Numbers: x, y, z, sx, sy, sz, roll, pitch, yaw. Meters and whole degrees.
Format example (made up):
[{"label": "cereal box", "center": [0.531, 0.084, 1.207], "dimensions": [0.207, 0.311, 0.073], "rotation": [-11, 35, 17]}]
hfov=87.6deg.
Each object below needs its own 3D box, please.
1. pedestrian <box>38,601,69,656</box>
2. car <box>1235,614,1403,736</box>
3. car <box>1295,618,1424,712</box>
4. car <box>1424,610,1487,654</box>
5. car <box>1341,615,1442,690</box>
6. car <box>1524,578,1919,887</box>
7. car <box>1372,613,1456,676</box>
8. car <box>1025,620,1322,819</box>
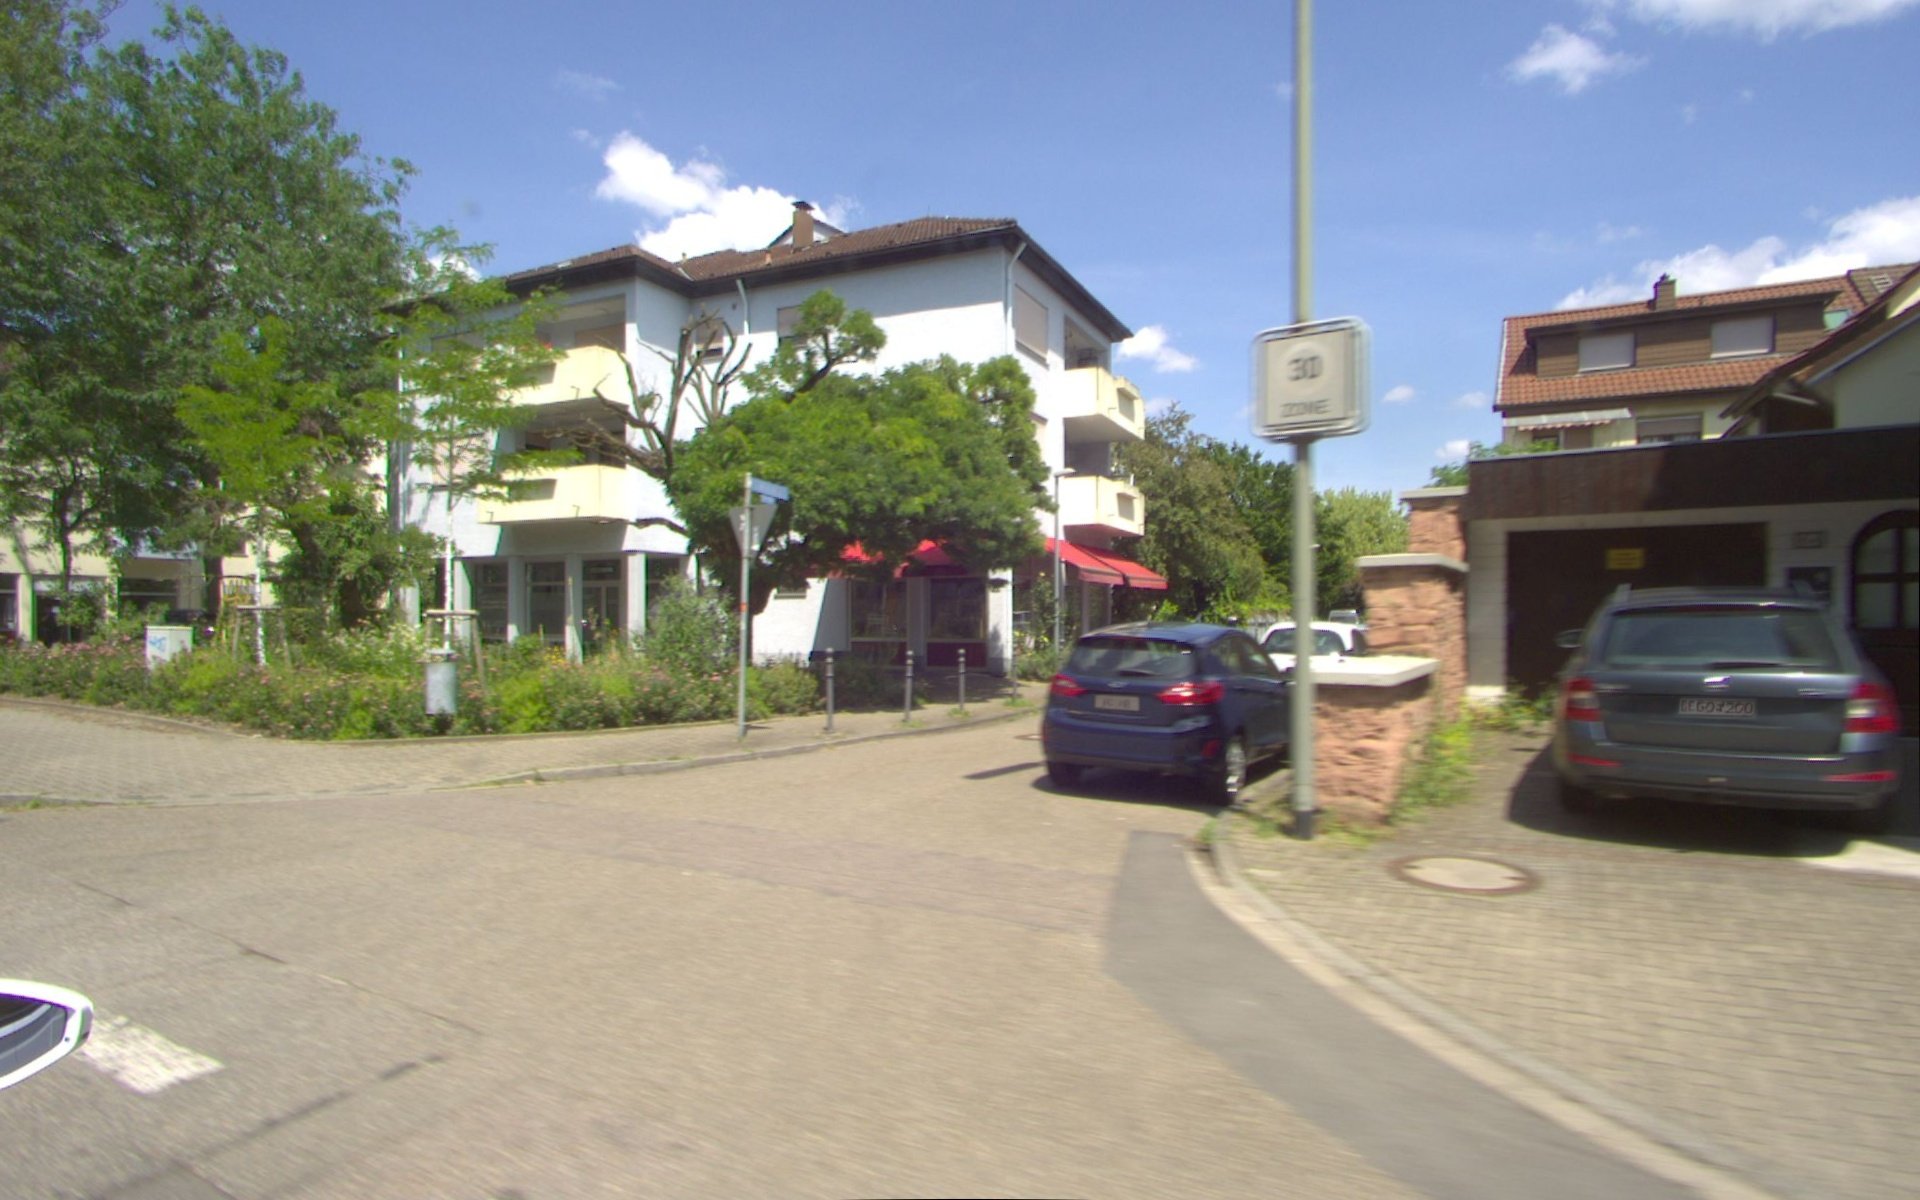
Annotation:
[{"label": "pedestrian", "center": [-31.150, 0.974, 34.420], "dimensions": [0.586, 1.883, 0.602], "rotation": [0, 0, -17]}, {"label": "car", "center": [5.571, 1.066, 15.291], "dimensions": [1.716, 1.550, 3.594], "rotation": [2, -1, 31]}, {"label": "car", "center": [7.731, 1.195, 19.200], "dimensions": [1.716, 1.550, 3.594], "rotation": [2, -1, 31]}, {"label": "car", "center": [20.183, 1.272, 40.691], "dimensions": [1.971, 1.683, 3.981], "rotation": [0, -1, 31]}, {"label": "car", "center": [10.253, 1.204, 23.667], "dimensions": [1.716, 1.550, 3.594], "rotation": [2, -1, 31]}, {"label": "car", "center": [5.298, 0.660, 7.252], "dimensions": [1.719, 1.550, 4.255], "rotation": [-2, 0, 35]}, {"label": "car", "center": [12.630, 1.207, 27.757], "dimensions": [1.716, 1.550, 3.594], "rotation": [2, -1, 31]}, {"label": "car", "center": [2.209, 0.977, 9.588], "dimensions": [1.716, 1.467, 3.594], "rotation": [1, -1, 31]}]
